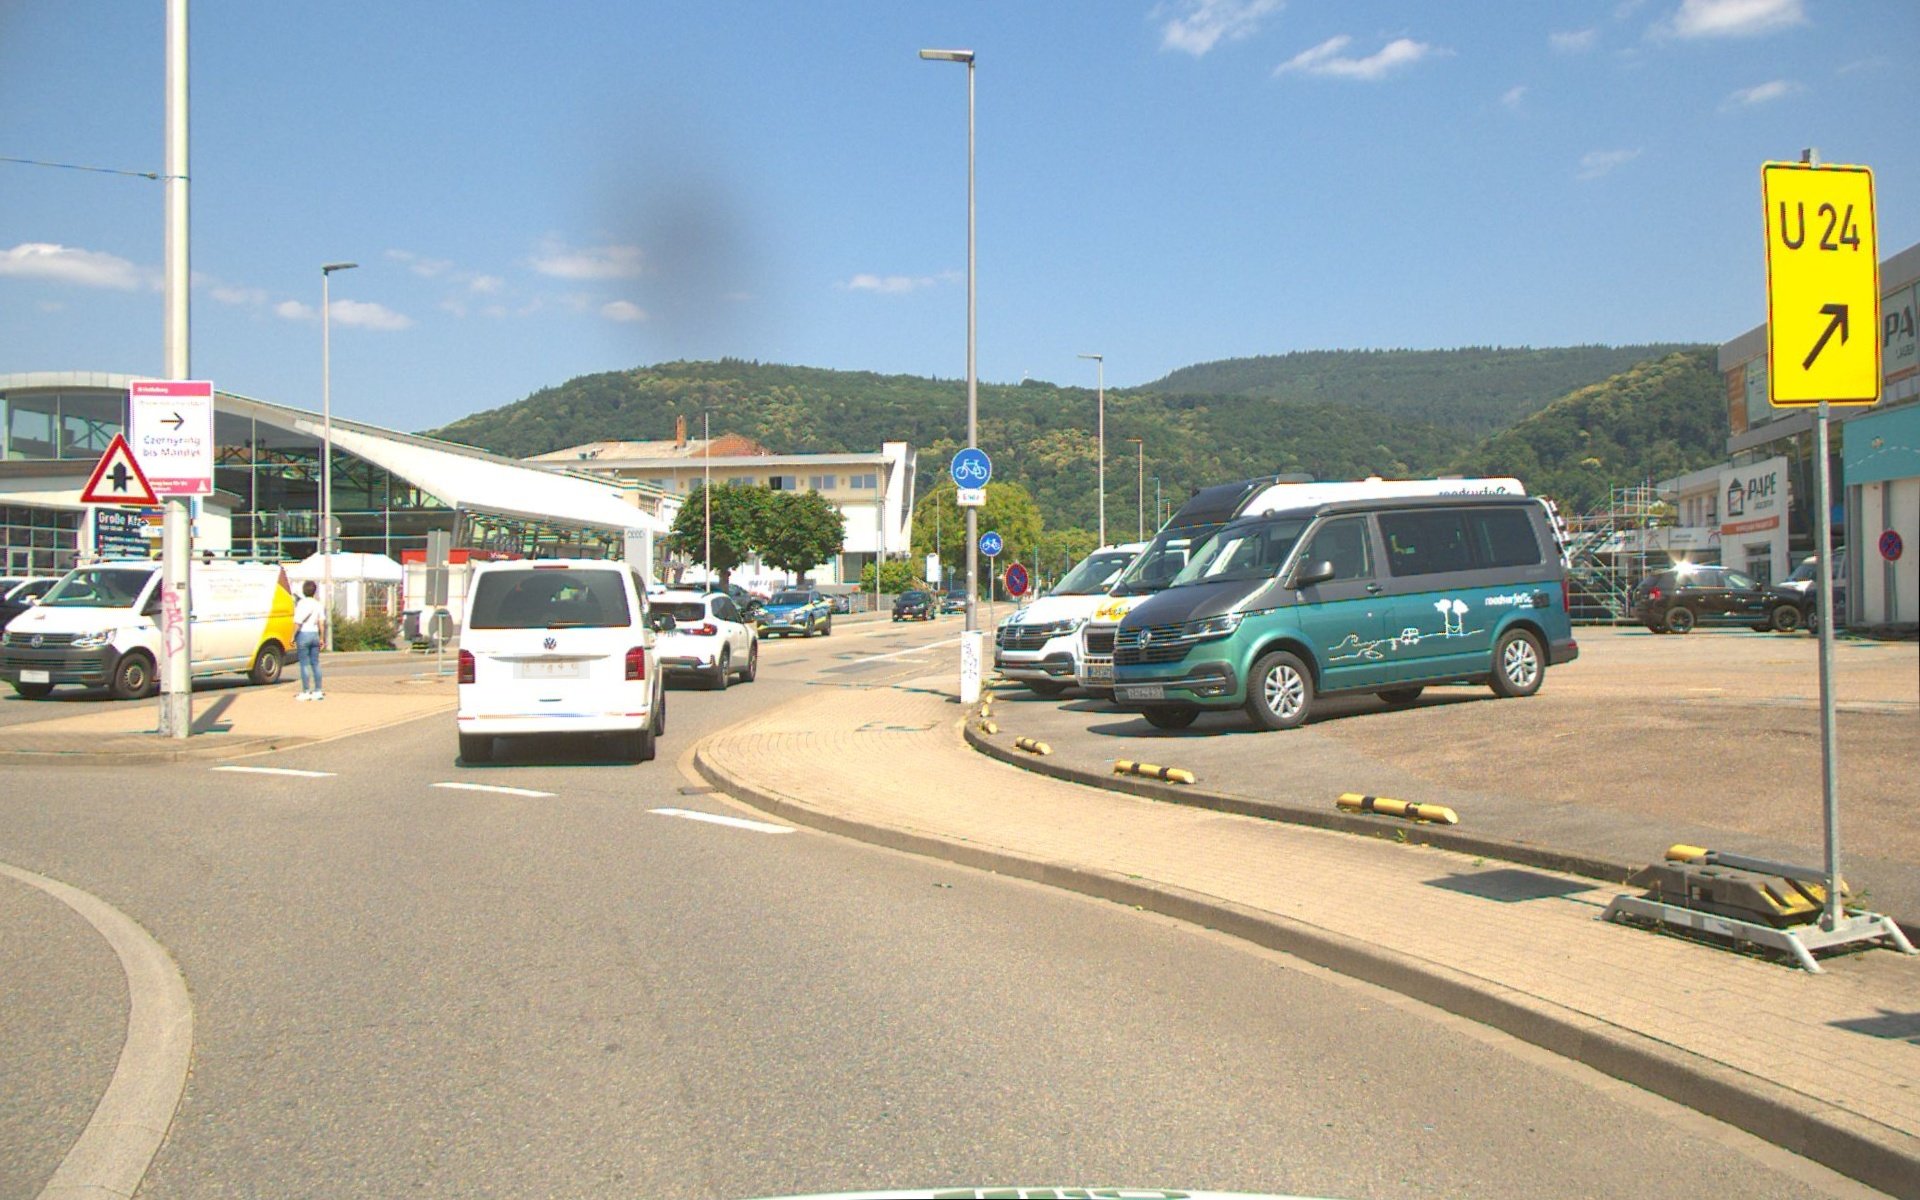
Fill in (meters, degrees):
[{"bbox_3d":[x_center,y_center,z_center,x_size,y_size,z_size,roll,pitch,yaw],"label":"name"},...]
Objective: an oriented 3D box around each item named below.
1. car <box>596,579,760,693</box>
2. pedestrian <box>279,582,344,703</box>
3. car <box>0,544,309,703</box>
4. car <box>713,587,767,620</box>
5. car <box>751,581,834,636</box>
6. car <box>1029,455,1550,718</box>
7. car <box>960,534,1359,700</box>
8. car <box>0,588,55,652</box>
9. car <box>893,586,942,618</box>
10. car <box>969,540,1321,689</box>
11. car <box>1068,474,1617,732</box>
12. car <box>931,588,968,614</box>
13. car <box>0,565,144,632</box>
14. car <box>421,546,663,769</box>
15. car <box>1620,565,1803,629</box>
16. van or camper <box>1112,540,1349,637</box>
[{"bbox_3d":[-4.778,0.551,28.619,1.952,1.737,4.002,2,1,2],"label":"car"},{"bbox_3d":[-9.252,0.590,23.608,0.752,1.685,0.665,0,0,-33],"label":"pedestrian"},{"bbox_3d":[-12.188,0.282,25.029,1.978,2.151,4.939,0,1,12],"label":"car"},{"bbox_3d":[-10.987,0.153,82.508,1.723,1.612,3.633,0,0,-25],"label":"car"},{"bbox_3d":[-5.713,0.252,56.806,1.868,1.791,4.455,-1,0,7],"label":"car"},{"bbox_3d":[4.018,-0.197,19.845,6.067,2.764,2.286,-1,0,-28],"label":"car"},{"bbox_3d":[2.716,0.183,22.362,5.079,2.035,2.008,-1,0,-26],"label":"car"},{"bbox_3d":[-22.683,0.467,37.106,1.983,1.452,4.321,-1,1,7],"label":"car"},{"bbox_3d":[-2.079,0.096,81.759,1.802,1.489,4.003,-1,0,8],"label":"car"},{"bbox_3d":[2.849,0.172,25.409,5.061,2.049,1.918,-2,0,-22],"label":"car"},{"bbox_3d":[3.760,-0.013,15.970,5.155,2.150,2.076,-1,0,-30],"label":"car"},{"bbox_3d":[-0.635,0.046,102.237,1.802,1.489,4.003,-1,0,7],"label":"car"},{"bbox_3d":[-23.846,-0.014,43.465,1.840,1.616,4.932,-2,0,7],"label":"car"},{"bbox_3d":[-4.317,0.530,17.851,2.122,2.049,5.007,0,0,-10],"label":"car"},{"bbox_3d":[19.156,-0.075,42.319,3.902,1.545,1.892,-1,0,9],"label":"car"},{"bbox_3d":[7.606,-0.310,46.634,6.365,2.606,2.977,0,0,10],"label":"van or camper"}]
